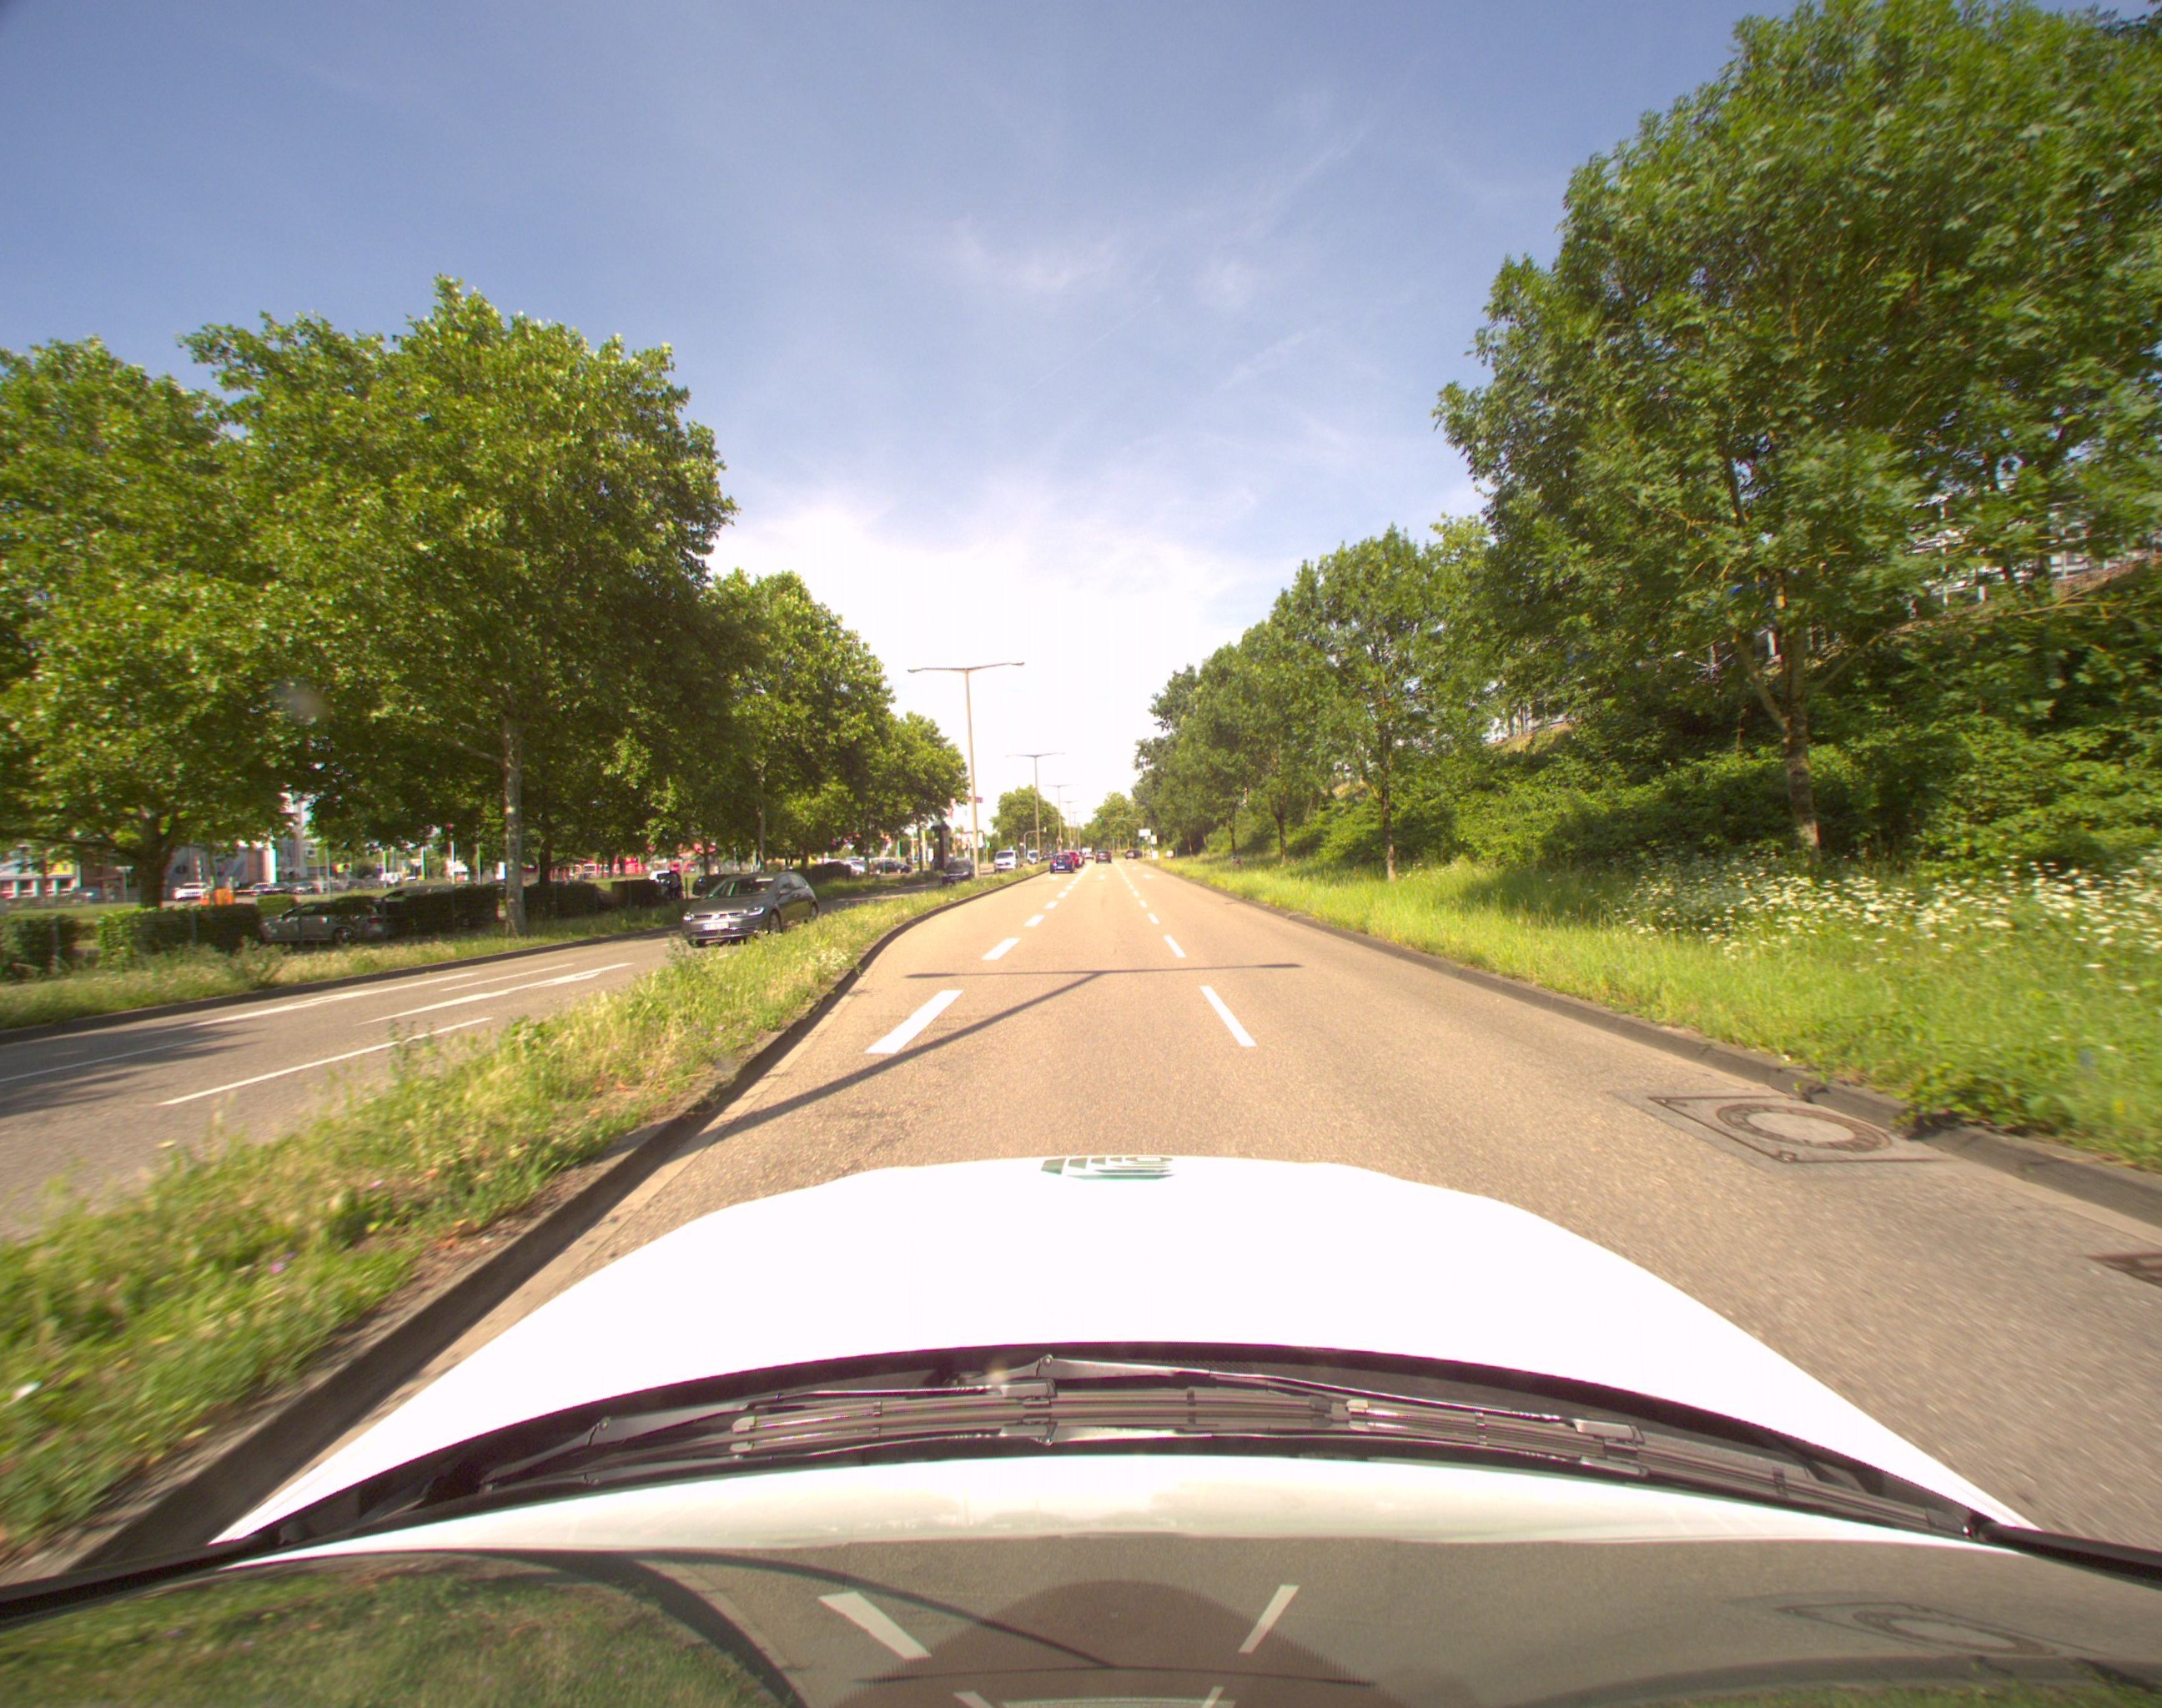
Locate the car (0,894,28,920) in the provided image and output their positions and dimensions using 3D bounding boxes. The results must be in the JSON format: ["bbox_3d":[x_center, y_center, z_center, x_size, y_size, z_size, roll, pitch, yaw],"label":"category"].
[{"bbox_3d":[-80.195,3.994,59.167,4.017,1.771,1.828,-3,3,-34],"label":"car"}]

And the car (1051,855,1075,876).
[{"bbox_3d":[-1.338,0.826,61.633,1.620,1.483,4.049,-1,0,1],"label":"car"}]

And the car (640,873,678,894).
[{"bbox_3d":[-36.631,2.569,70.660,2.010,1.665,4.789,-3,0,-38],"label":"car"}]

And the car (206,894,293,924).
[{"bbox_3d":[-47.675,3.120,46.713,3.955,1.504,1.814,-1,2,17],"label":"car"}]

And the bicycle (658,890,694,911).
[{"bbox_3d":[-19.432,2.238,39.117,0.687,0.866,1.927,-3,0,2],"label":"bicycle"}]

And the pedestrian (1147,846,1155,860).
[{"bbox_3d":[9.427,-0.148,109.543,0.835,1.932,0.771,-2,2,-2],"label":"pedestrian"}]

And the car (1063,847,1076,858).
[{"bbox_3d":[-2.079,-0.227,144.202,1.985,1.860,4.003,-3,0,3],"label":"car"}]

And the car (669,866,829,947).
[{"bbox_3d":[-7.234,1.077,18.252,1.834,1.478,4.165,-3,0,0],"label":"car"}]

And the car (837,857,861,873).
[{"bbox_3d":[-40.128,1.938,140.642,2.011,2.532,4.583,-3,0,-42],"label":"car"}]

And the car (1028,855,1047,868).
[{"bbox_3d":[-5.770,0.969,108.305,1.986,1.530,4.684,-3,0,2],"label":"car"}]

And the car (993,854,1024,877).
[{"bbox_3d":[-6.430,0.962,72.494,2.110,1.883,5.419,-3,0,0],"label":"car"}]

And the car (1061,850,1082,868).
[{"bbox_3d":[-0.899,0.444,76.508,1.776,1.593,4.594,-1,0,1],"label":"car"}]

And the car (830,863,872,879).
[{"bbox_3d":[-25.666,1.881,91.061,4.121,1.603,1.729,-3,0,13],"label":"car"}]

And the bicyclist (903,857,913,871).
[{"bbox_3d":[-20.942,1.212,98.521,0.904,1.715,0.774,-3,2,-35],"label":"bicyclist"}]

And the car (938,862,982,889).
[{"bbox_3d":[-7.162,1.245,48.569,1.762,1.469,4.285,-3,0,2],"label":"car"}]

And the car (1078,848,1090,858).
[{"bbox_3d":[0.611,-0.234,154.767,1.986,1.708,4.265,-3,0,2],"label":"car"}]

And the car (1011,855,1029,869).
[{"bbox_3d":[-8.076,1.041,108.119,1.970,1.693,4.000,-3,0,0],"label":"car"}]

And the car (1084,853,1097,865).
[{"bbox_3d":[1.594,0.780,132.986,1.986,1.744,4.267,-3,0,2],"label":"car"}]

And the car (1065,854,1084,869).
[{"bbox_3d":[-0.634,0.755,82.799,1.760,1.479,4.136,-1,0,1],"label":"car"}]

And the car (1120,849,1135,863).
[{"bbox_3d":[6.894,0.346,120.561,2.010,1.837,4.003,-2,2,2],"label":"car"}]

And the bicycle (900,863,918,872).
[{"bbox_3d":[-20.852,1.659,98.596,1.962,0.983,0.781,-3,2,-35],"label":"bicycle"}]

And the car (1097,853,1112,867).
[{"bbox_3d":[2.860,0.696,99.702,1.730,1.535,4.003,-2,2,2],"label":"car"}]

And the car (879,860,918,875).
[{"bbox_3d":[-20.015,1.487,89.281,3.949,1.388,1.776,-2,1,28],"label":"car"}]

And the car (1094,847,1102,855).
[{"bbox_3d":[4.329,-0.780,208.696,1.988,2.013,3.997,-2,0,-2],"label":"car"}]

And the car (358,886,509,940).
[{"bbox_3d":[-24.066,2.169,30.378,3.968,1.823,2.159,-2,-1,5],"label":"car"}]

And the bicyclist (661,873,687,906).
[{"bbox_3d":[-19.466,1.693,38.924,0.679,1.485,0.942,-3,0,1],"label":"bicyclist"}]

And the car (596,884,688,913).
[{"bbox_3d":[-24.086,2.439,44.804,3.979,1.414,1.802,-2,-1,-4],"label":"car"}]

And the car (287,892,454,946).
[{"bbox_3d":[-23.613,2.153,27.161,3.971,1.464,1.773,-3,0,2],"label":"car"}]

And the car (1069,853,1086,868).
[{"bbox_3d":[-0.360,0.720,95.890,1.875,1.618,4.213,-2,0,1],"label":"car"}]
